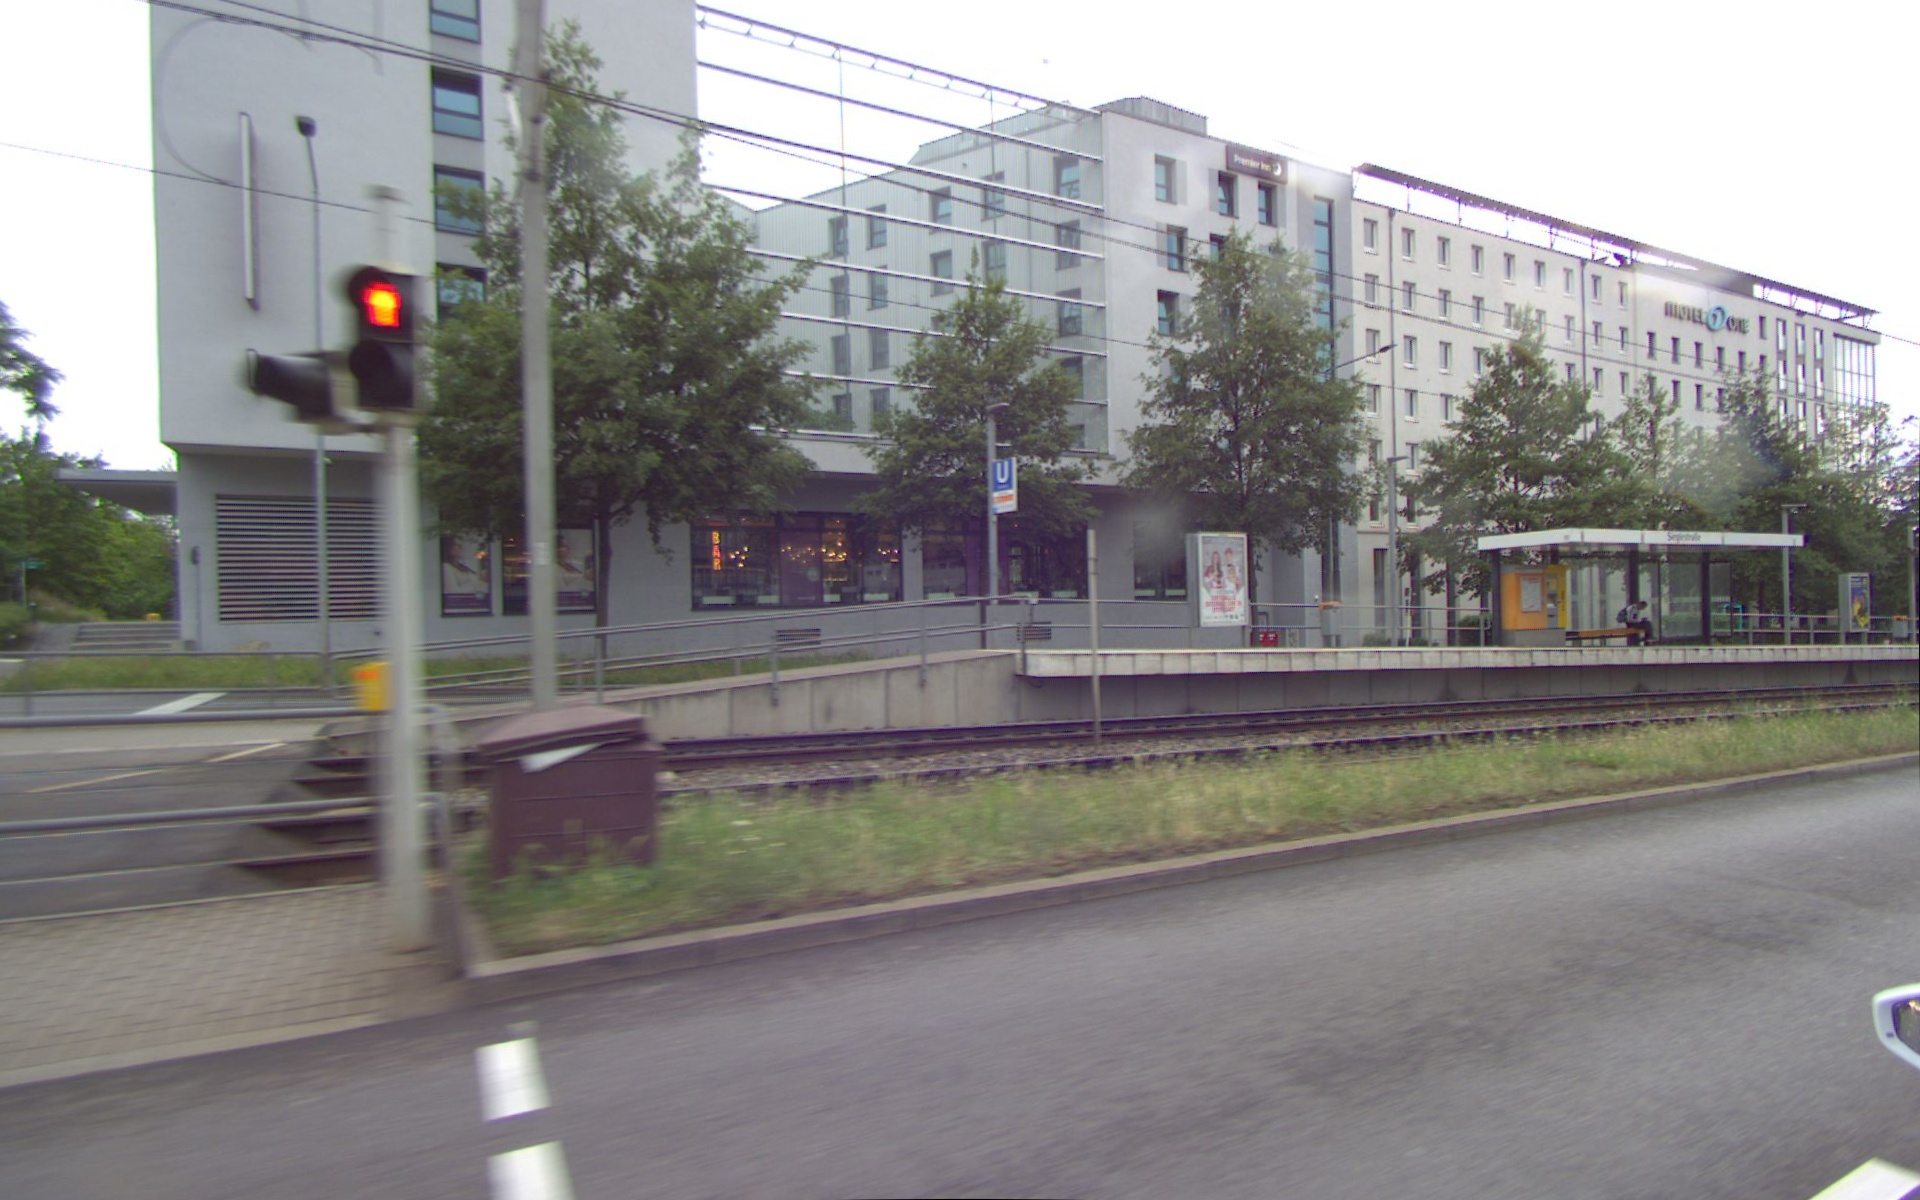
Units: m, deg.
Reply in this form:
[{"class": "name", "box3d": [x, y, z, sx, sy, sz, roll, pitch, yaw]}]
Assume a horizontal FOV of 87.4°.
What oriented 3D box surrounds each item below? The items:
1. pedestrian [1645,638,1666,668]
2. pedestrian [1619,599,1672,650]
[{"class": "pedestrian", "box3d": [38.226, 2.887, 55.181, 0.825, 1.599, 0.598, 2, 0, -28]}, {"class": "pedestrian", "box3d": [18.240, 0.655, 26.730, 0.676, 1.317, 0.957, 1, -1, -28]}]
